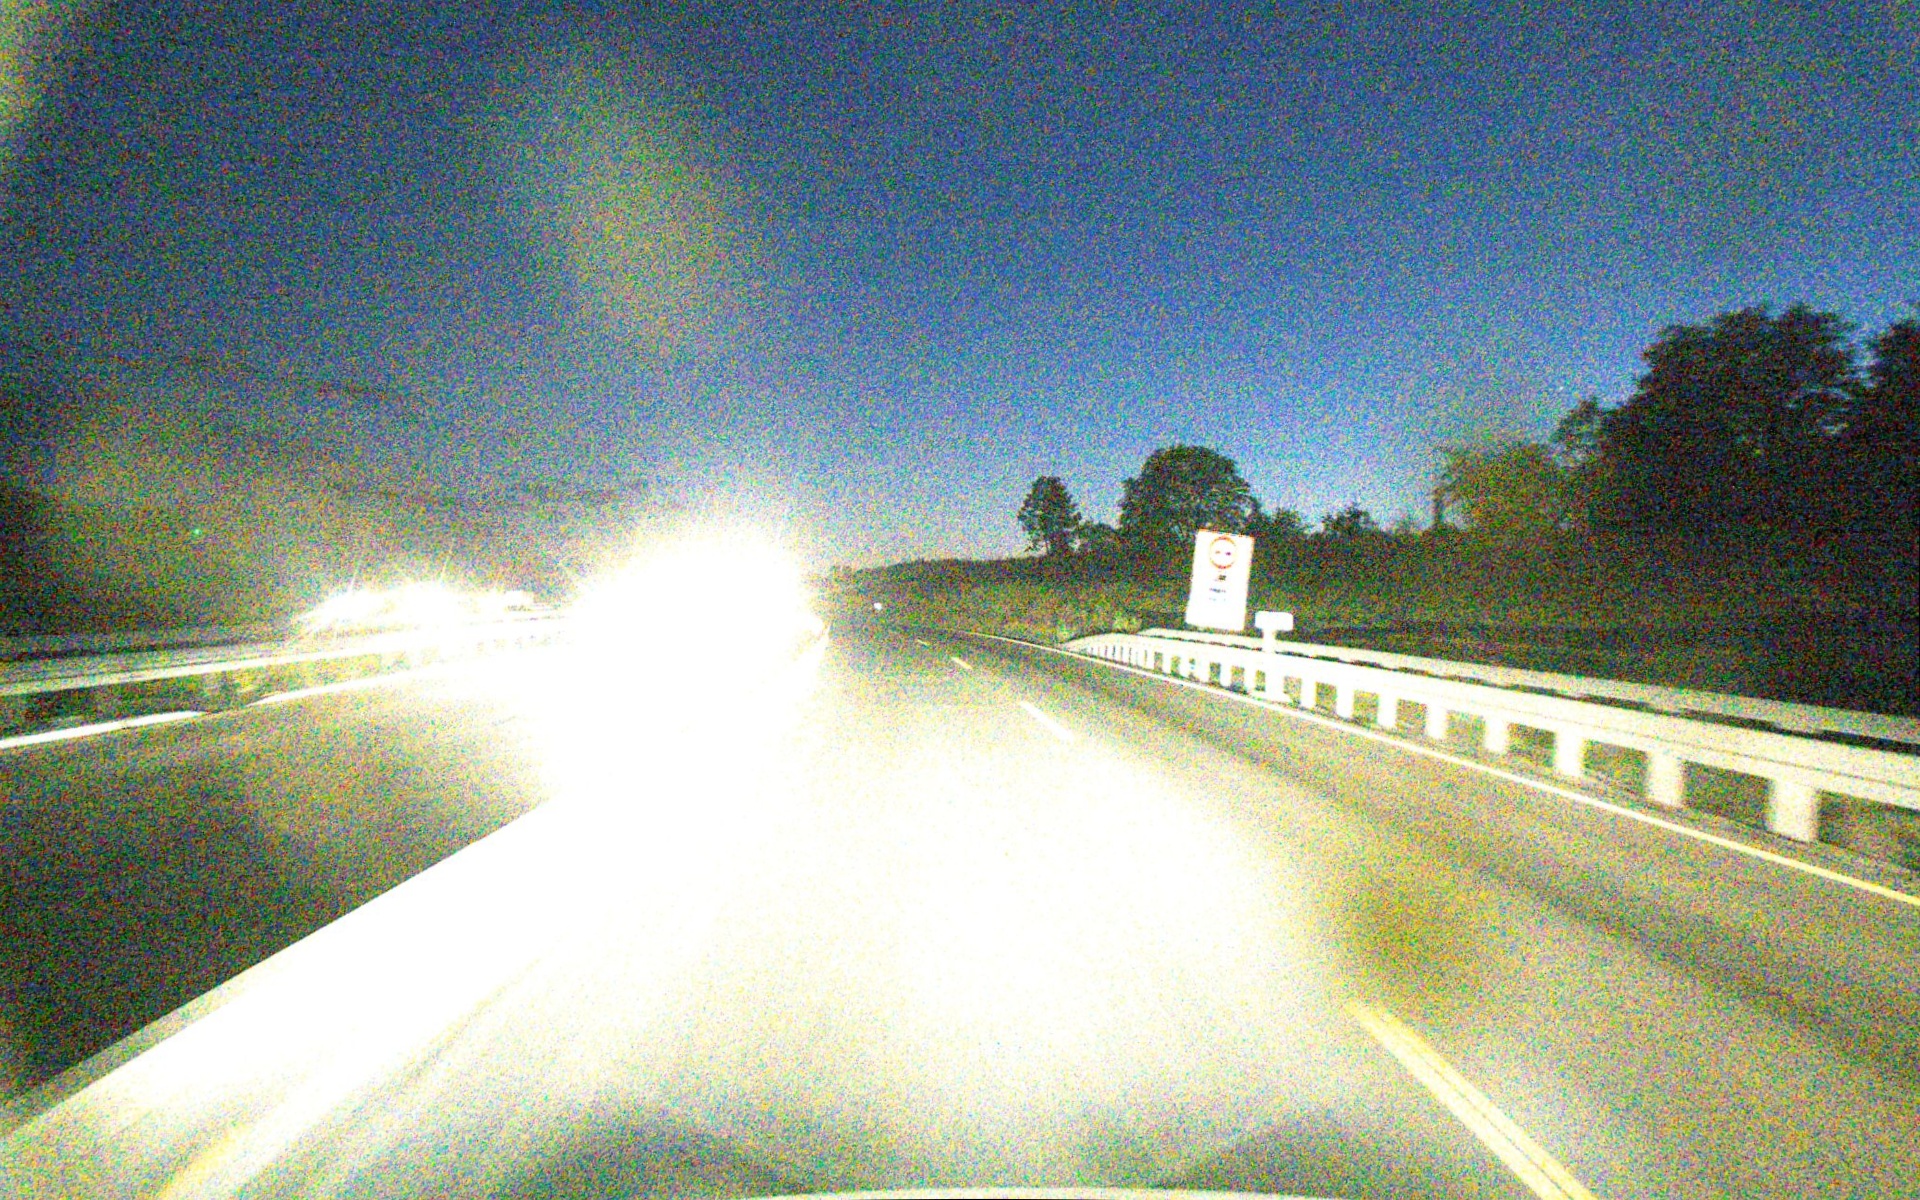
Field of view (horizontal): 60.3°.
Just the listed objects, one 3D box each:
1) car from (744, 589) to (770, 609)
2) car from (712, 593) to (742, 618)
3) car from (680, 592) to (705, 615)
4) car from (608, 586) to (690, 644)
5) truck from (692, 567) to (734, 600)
[{"bbox_3d":[-15.594,-0.060,127.097,1.622,1.495,3.988,0,-1,-12],"label":"car"},{"bbox_3d":[-13.855,0.336,98.275,1.685,1.404,4.234,1,-1,-9],"label":"car"},{"bbox_3d":[-24.254,0.321,149.775,1.958,2.049,5.570,0,-1,-12],"label":"car"},{"bbox_3d":[-8.346,0.402,44.731,1.678,1.469,4.483,-1,0,-4],"label":"car"},{"bbox_3d":[-36.634,-2.386,244.697,3.949,4.631,13.883,0,-1,-18],"label":"truck"}]
